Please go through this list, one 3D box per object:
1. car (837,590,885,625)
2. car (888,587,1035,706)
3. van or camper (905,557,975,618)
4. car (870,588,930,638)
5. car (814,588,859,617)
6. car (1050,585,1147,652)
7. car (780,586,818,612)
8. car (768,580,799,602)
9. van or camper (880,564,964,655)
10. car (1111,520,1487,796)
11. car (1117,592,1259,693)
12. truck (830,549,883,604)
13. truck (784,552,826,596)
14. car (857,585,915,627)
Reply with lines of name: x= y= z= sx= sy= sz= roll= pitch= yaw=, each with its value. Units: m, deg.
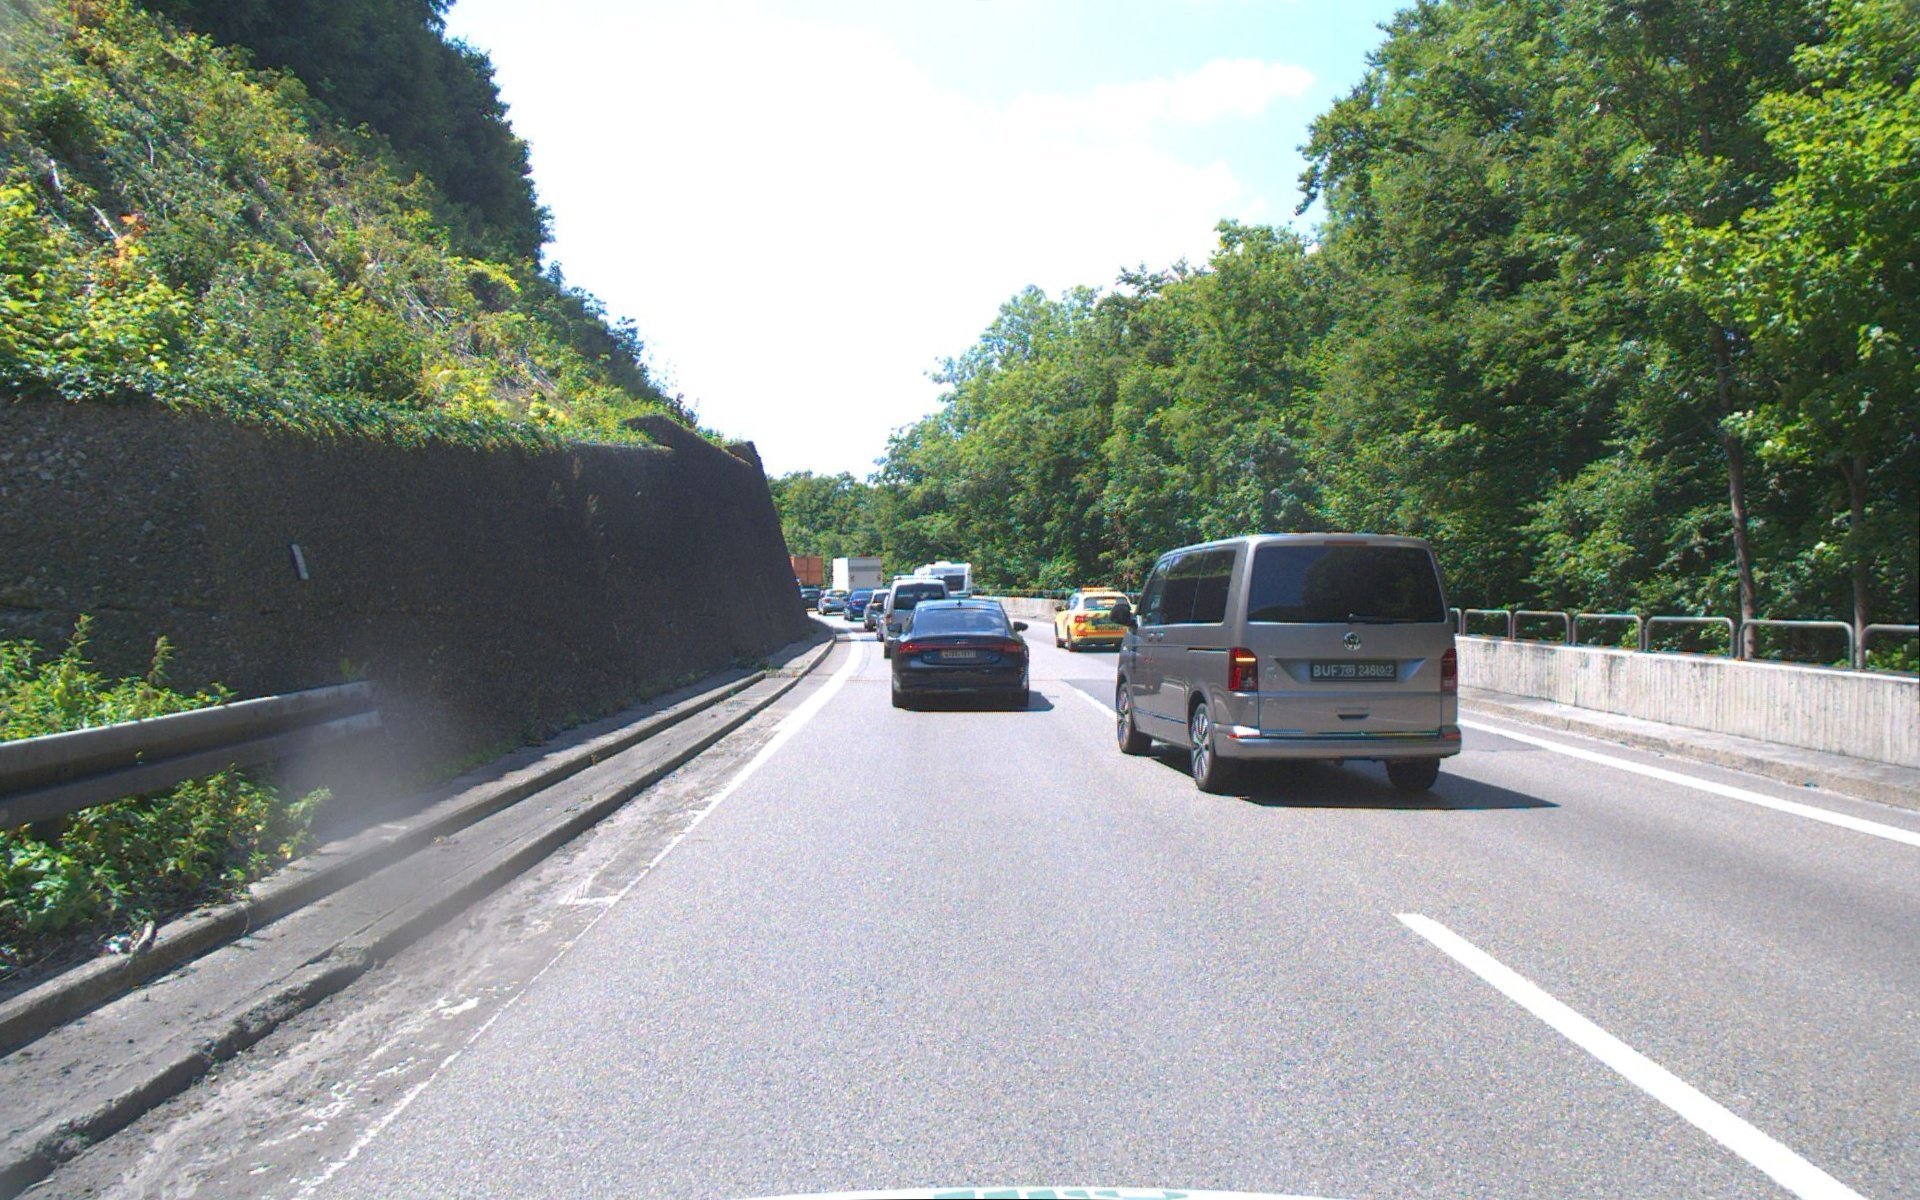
car: x=-4.893 y=0.359 z=81.315 sx=1.824 sy=1.648 sz=3.990 roll=1 pitch=0 yaw=-10
car: x=-0.051 y=0.584 z=23.303 sx=1.866 sy=1.515 sz=4.377 roll=1 pitch=0 yaw=-2
van or camper: x=-1.072 y=-0.612 z=83.350 sx=2.556 sy=2.905 sz=6.322 roll=1 pitch=0 yaw=-9
car: x=-1.930 y=0.389 z=52.410 sx=1.737 sy=1.498 sz=3.997 roll=-1 pitch=1 yaw=-4
car: x=-7.211 y=0.126 z=95.982 sx=1.960 sy=1.646 sz=3.986 roll=1 pitch=0 yaw=-14
car: x=3.472 y=0.436 z=42.104 sx=1.773 sy=1.503 sz=4.078 roll=3 pitch=0 yaw=-4
car: x=-10.607 y=-0.083 z=108.697 sx=1.723 sy=1.598 sz=3.753 roll=1 pitch=0 yaw=-17
car: x=-13.205 y=-0.687 z=123.388 sx=1.722 sy=1.598 sz=3.756 roll=1 pitch=0 yaw=-15
van or camper: x=-0.897 y=0.213 z=39.743 sx=1.816 sy=1.975 sz=4.164 roll=3 pitch=0 yaw=-1
car: x=2.648 y=0.404 z=14.171 sx=1.903 sy=1.965 sz=4.690 roll=1 pitch=0 yaw=-5
car: x=3.633 y=0.636 z=26.964 sx=1.651 sy=1.484 sz=3.999 roll=1 pitch=0 yaw=-2
truck: x=-7.582 y=-1.702 z=120.756 sx=2.872 sy=3.751 sz=7.707 roll=4 pitch=0 yaw=-9
truck: x=-13.424 y=-2.200 z=142.868 sx=3.104 sy=3.528 sz=8.208 roll=4 pitch=0 yaw=-7
car: x=-2.980 y=0.216 z=65.673 sx=1.860 sy=1.612 sz=3.763 roll=1 pitch=0 yaw=-9
